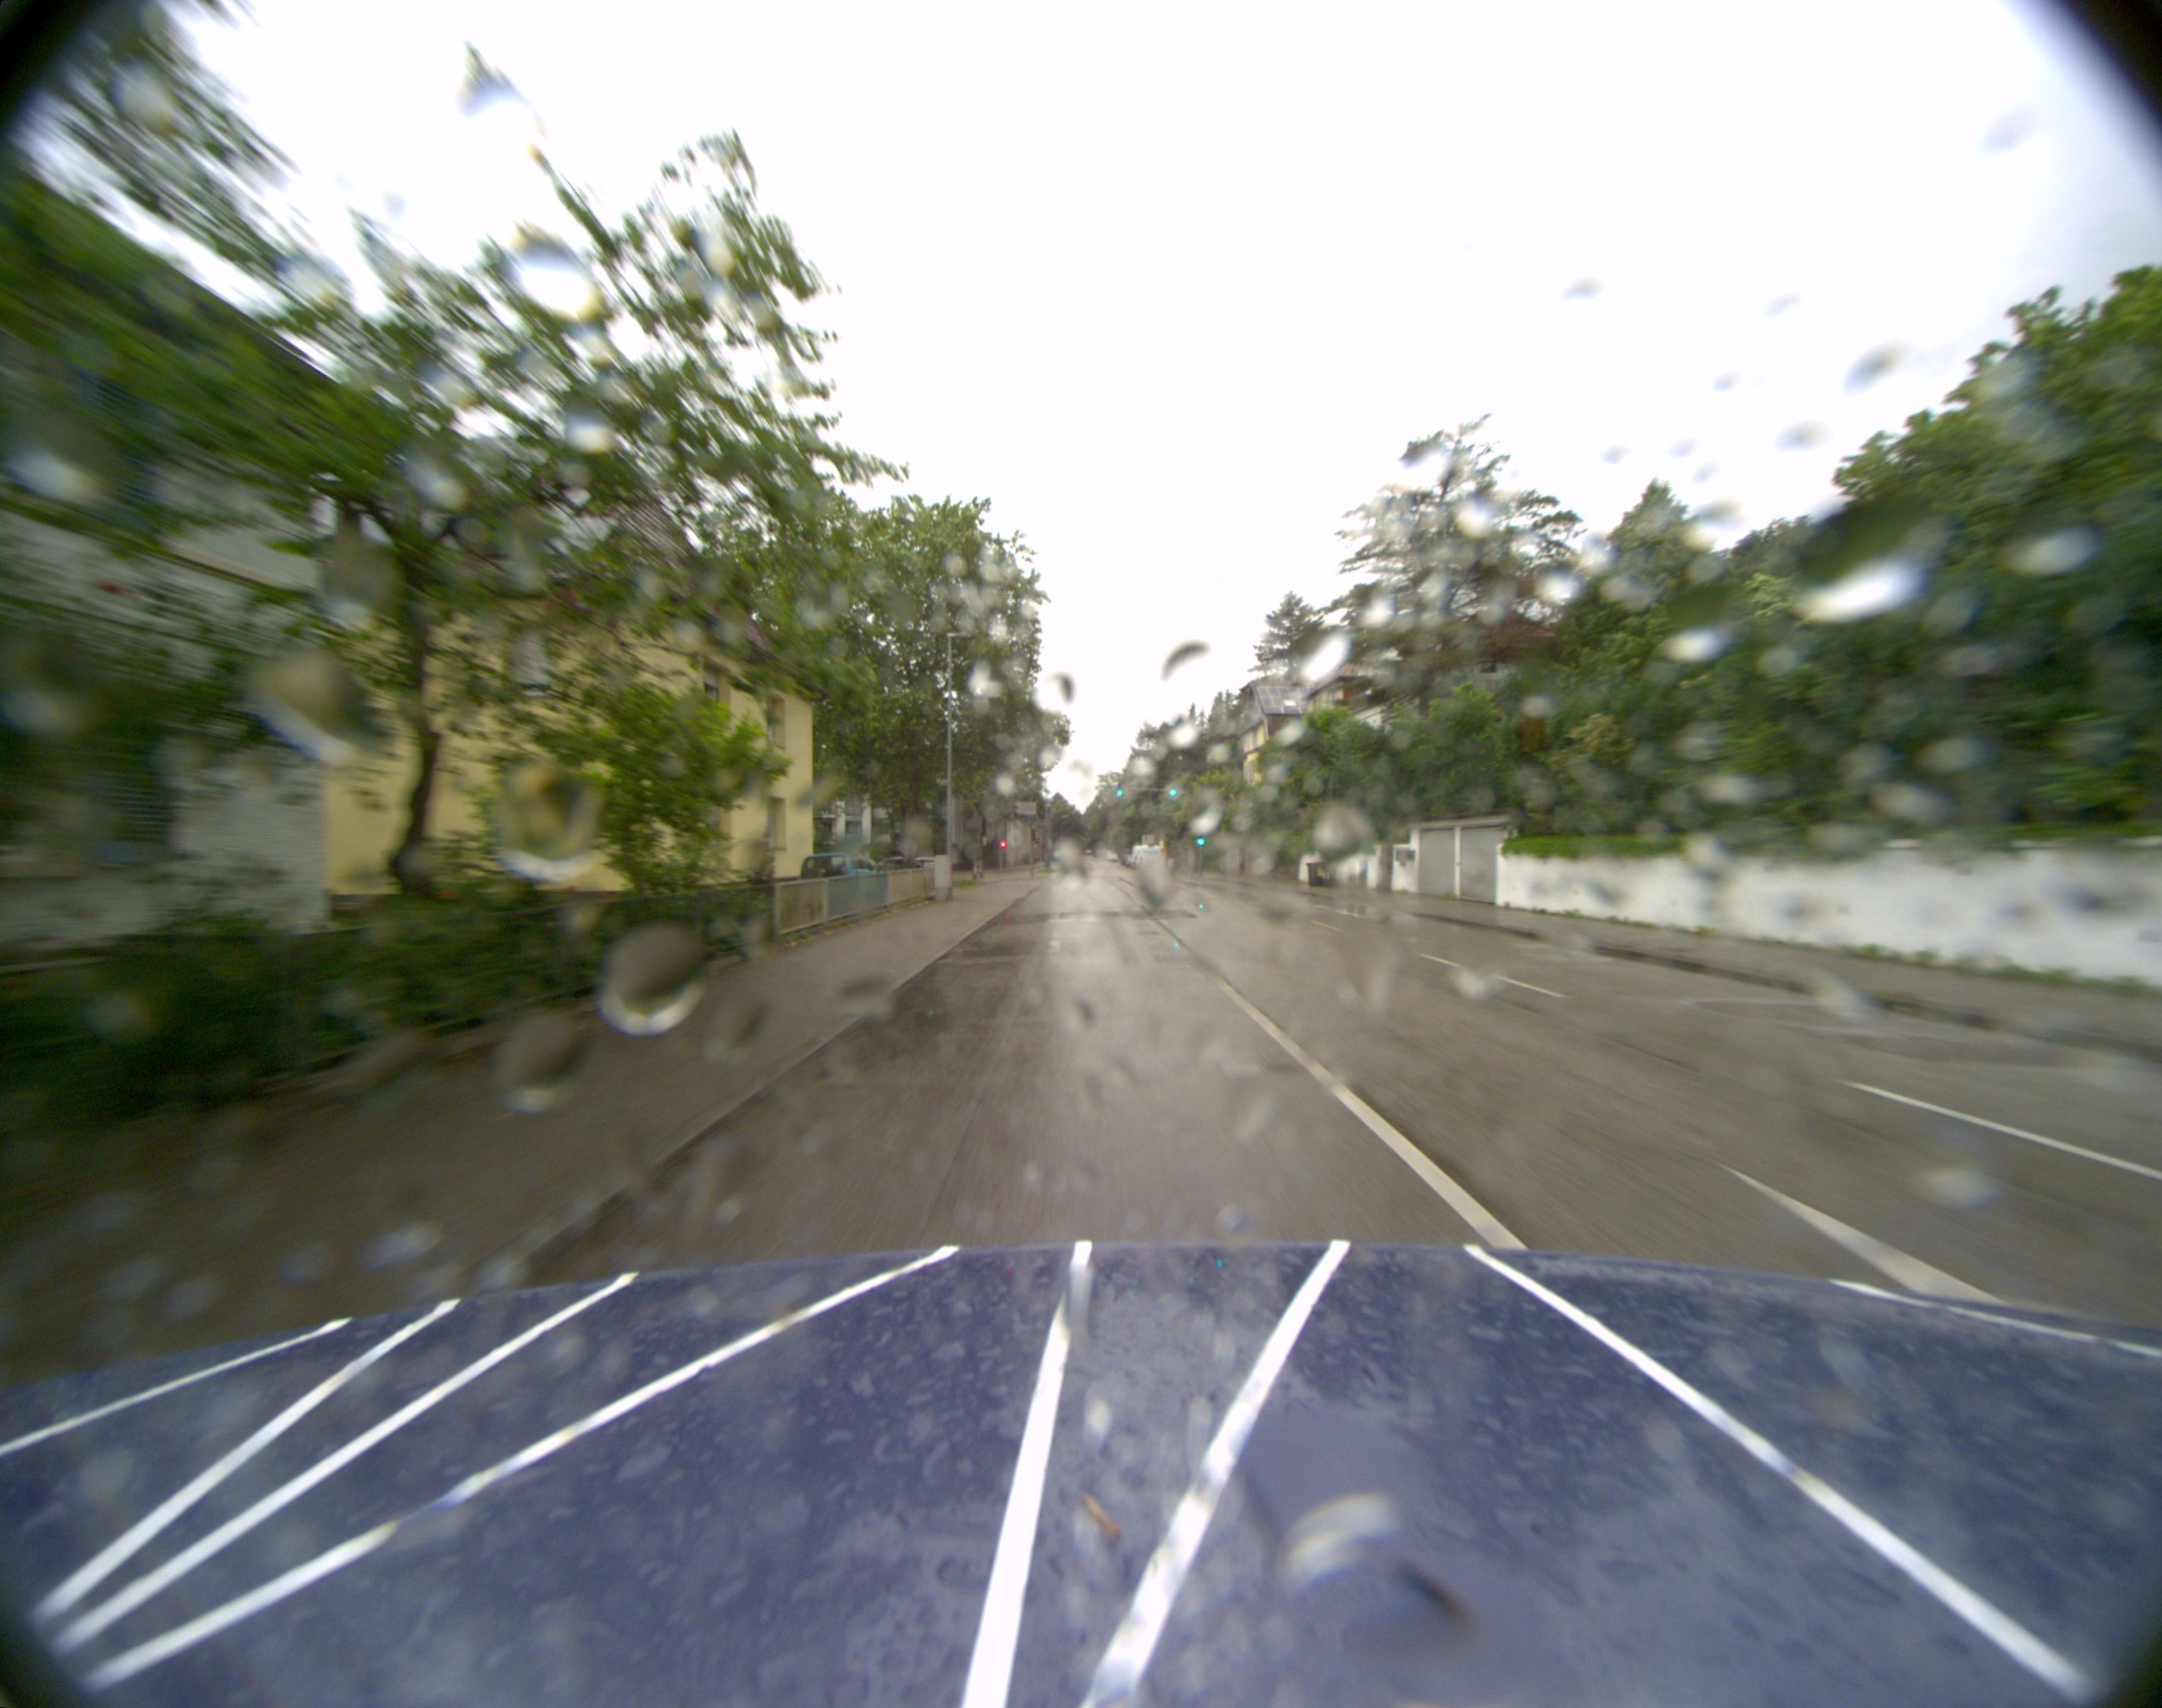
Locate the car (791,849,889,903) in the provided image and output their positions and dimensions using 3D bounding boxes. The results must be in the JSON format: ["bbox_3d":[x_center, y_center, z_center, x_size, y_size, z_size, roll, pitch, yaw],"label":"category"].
[{"bbox_3d":[-7.062,0.589,22.608,1.673,1.462,3.525,0,1,1],"label":"car"}]

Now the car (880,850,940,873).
[{"bbox_3d":[-12.935,0.564,57.779,4.227,1.677,1.709,-1,1,-6],"label":"car"}]

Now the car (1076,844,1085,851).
[{"bbox_3d":[-0.230,-1.777,209.604,1.924,1.889,4.002,0,1,7],"label":"car"}]

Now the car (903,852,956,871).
[{"bbox_3d":[-12.757,0.625,64.271,4.089,1.600,1.794,1,1,2],"label":"car"}]

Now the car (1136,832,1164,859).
[{"bbox_3d":[6.689,-0.846,73.960,2.085,2.464,4.852,3,1,-1],"label":"car"}]

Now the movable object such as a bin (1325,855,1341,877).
[{"bbox_3d":[10.489,0.513,31.639,0.532,0.893,0.416,0,1,-2],"label":"movable object such as a bin"}]

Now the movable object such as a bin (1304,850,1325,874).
[{"bbox_3d":[10.384,0.354,33.796,0.683,1.034,0.657,0,1,-2],"label":"movable object such as a bin"}]

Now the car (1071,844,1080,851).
[{"bbox_3d":[-1.508,-1.706,199.274,1.924,1.889,4.001,0,1,6],"label":"car"}]

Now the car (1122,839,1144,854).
[{"bbox_3d":[6.664,-0.996,97.884,2.162,1.815,4.915,3,1,-1],"label":"car"}]

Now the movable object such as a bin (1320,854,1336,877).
[{"bbox_3d":[10.431,0.479,32.118,0.544,0.935,0.416,0,1,-2],"label":"movable object such as a bin"}]

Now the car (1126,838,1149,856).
[{"bbox_3d":[6.763,-0.881,91.270,2.162,1.944,4.915,3,1,-1],"label":"car"}]

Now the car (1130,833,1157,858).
[{"bbox_3d":[6.550,-0.915,80.458,2.162,2.454,4.915,3,1,-1],"label":"car"}]

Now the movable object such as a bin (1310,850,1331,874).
[{"bbox_3d":[10.377,0.339,32.907,0.683,1.034,0.657,0,1,-2],"label":"movable object such as a bin"}]

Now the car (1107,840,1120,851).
[{"bbox_3d":[5.317,-1.361,124.887,1.925,1.747,3.999,0,1,0],"label":"car"}]

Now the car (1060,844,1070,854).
[{"bbox_3d":[-3.075,-0.938,150.914,1.925,1.889,3.999,0,1,0],"label":"car"}]
